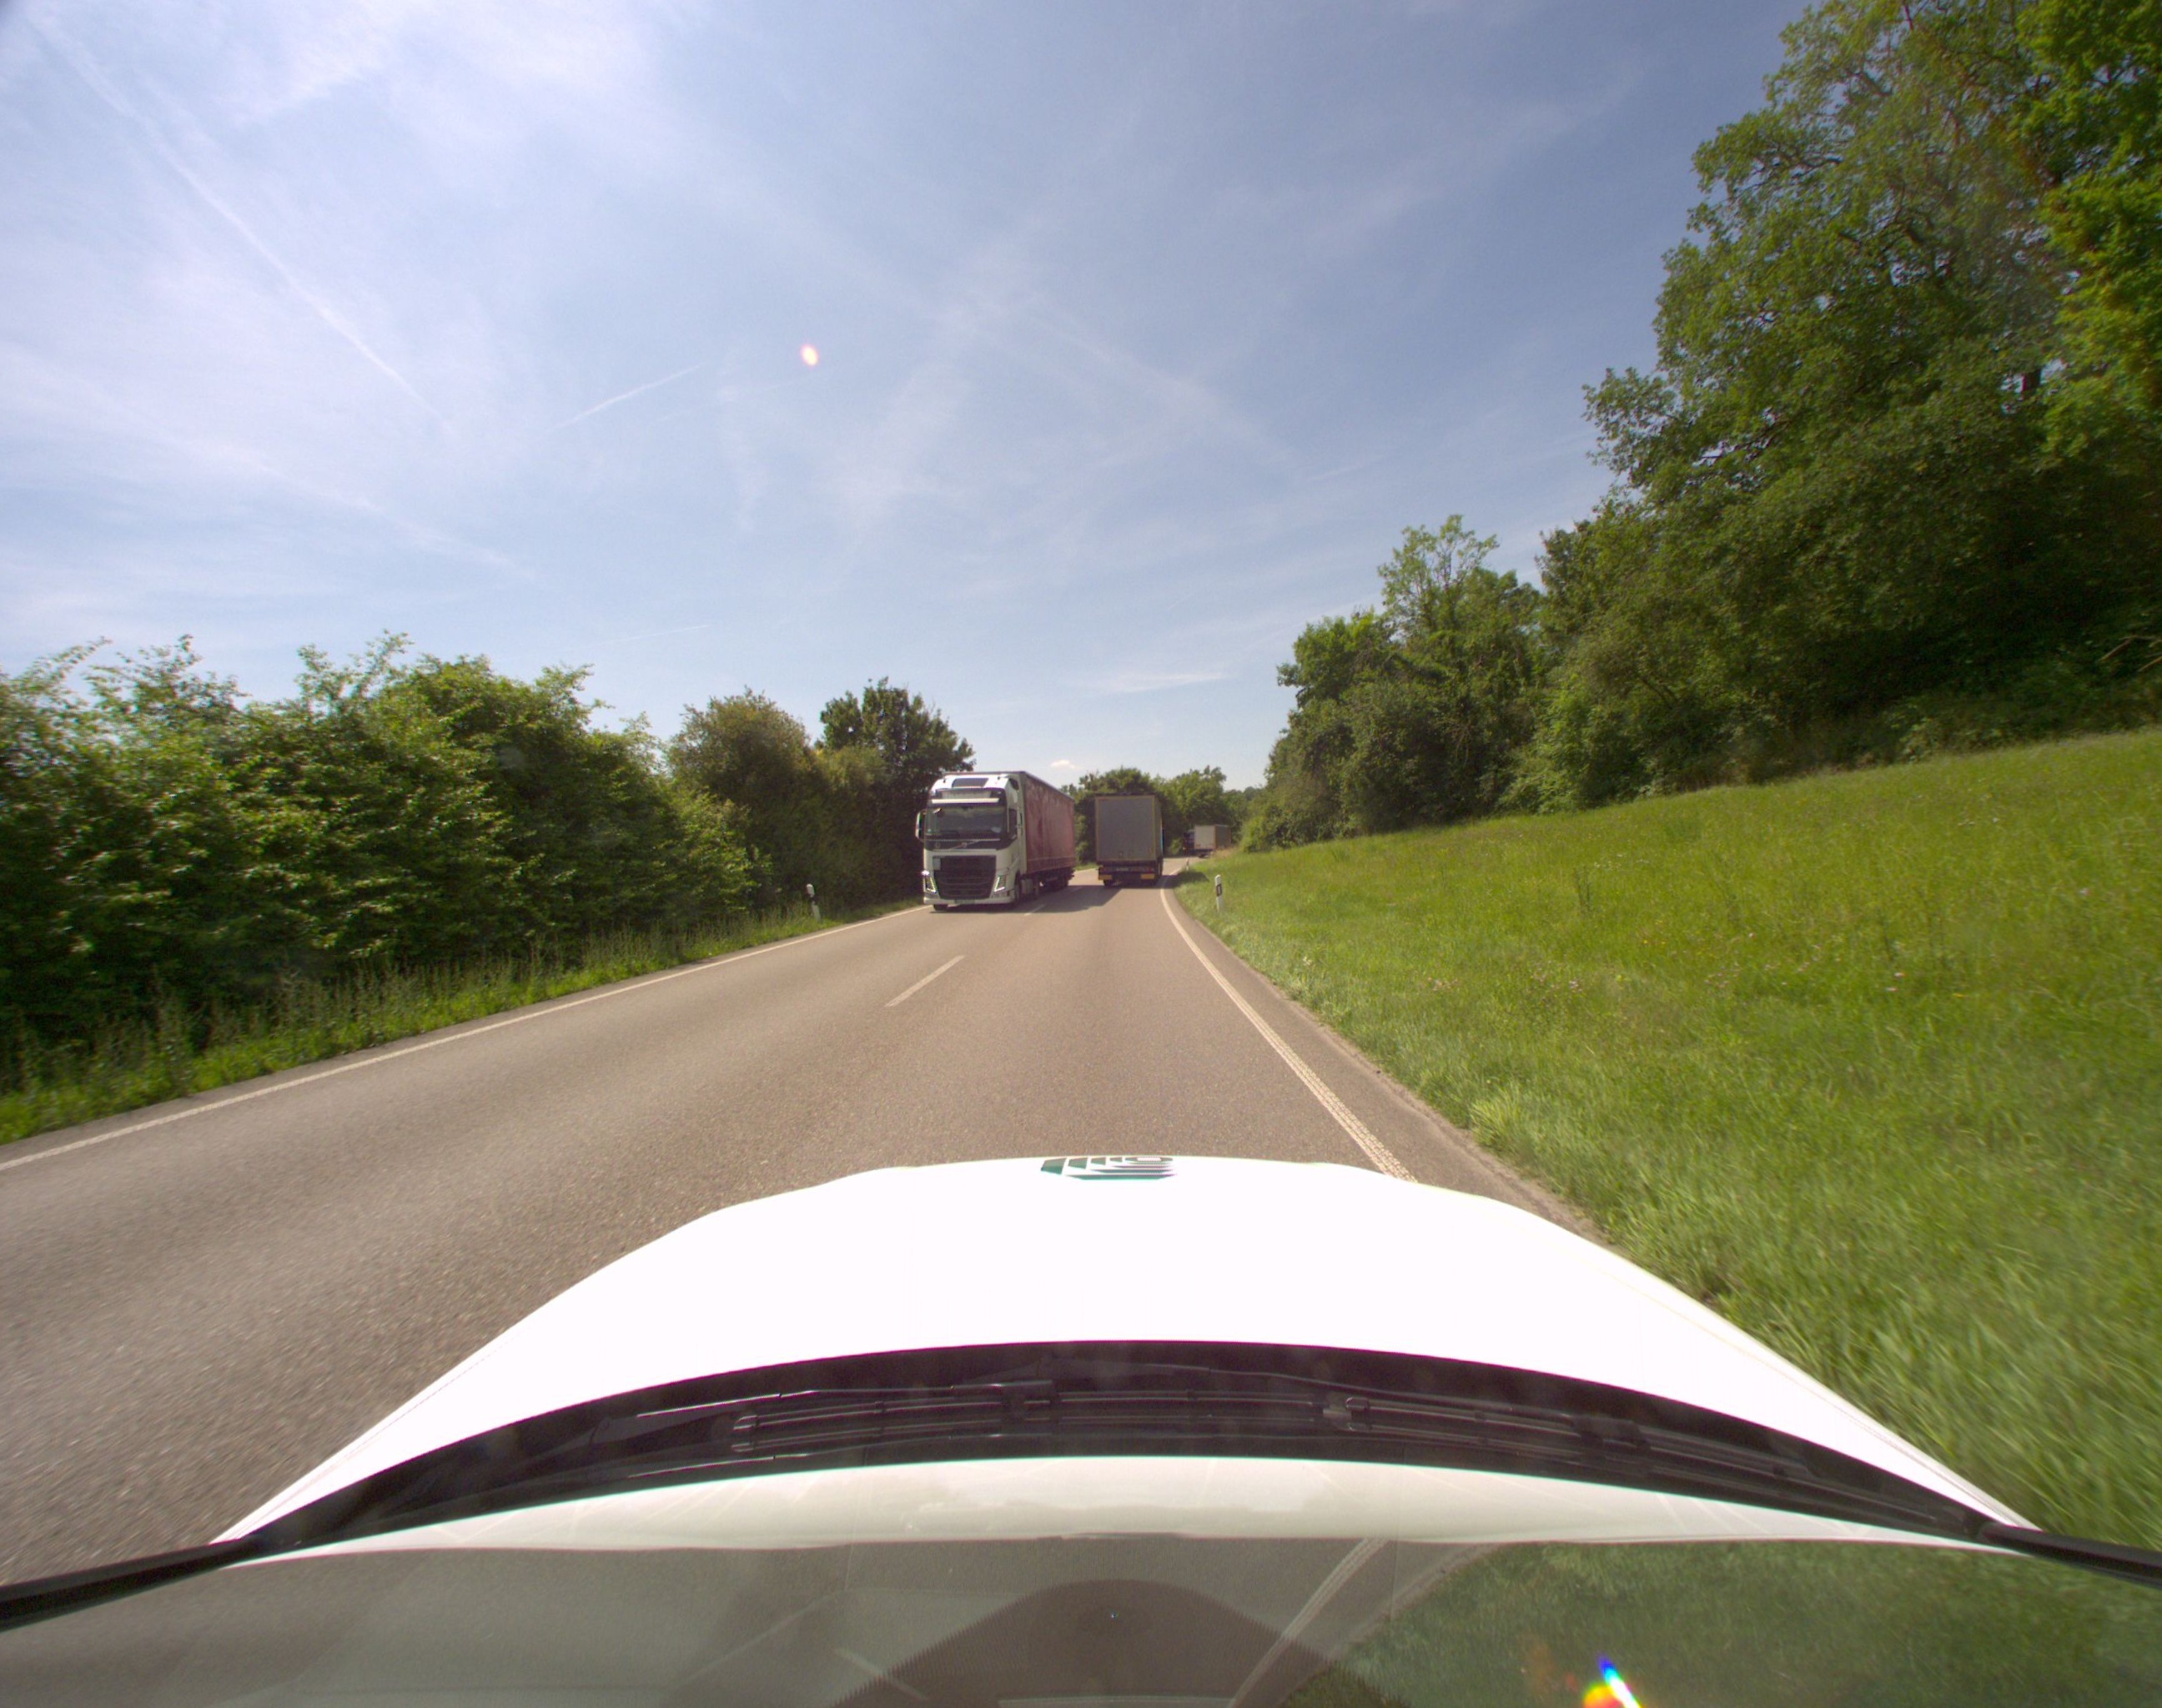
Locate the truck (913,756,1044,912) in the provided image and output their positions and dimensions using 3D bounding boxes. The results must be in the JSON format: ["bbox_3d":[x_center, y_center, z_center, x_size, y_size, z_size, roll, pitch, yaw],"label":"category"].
[{"bbox_3d":[-2.882,-0.545,24.679,2.546,4.115,5.809,-1,0,6],"label":"truck"}]

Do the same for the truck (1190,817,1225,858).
[{"bbox_3d":[16.406,-2.270,104.547,3.083,4.705,16.650,-2,1,13],"label":"truck"}]

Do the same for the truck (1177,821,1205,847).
[{"bbox_3d":[16.368,-2.877,120.354,2.534,3.452,12.683,-2,0,14],"label":"truck"}]

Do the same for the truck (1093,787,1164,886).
[{"bbox_3d":[2.728,-0.729,41.367,2.787,4.068,15.351,-1,0,6],"label":"truck"}]

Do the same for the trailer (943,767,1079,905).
[{"bbox_3d":[-2.136,-0.576,31.421,2.555,4.108,13.686,-1,0,6],"label":"trailer"}]
